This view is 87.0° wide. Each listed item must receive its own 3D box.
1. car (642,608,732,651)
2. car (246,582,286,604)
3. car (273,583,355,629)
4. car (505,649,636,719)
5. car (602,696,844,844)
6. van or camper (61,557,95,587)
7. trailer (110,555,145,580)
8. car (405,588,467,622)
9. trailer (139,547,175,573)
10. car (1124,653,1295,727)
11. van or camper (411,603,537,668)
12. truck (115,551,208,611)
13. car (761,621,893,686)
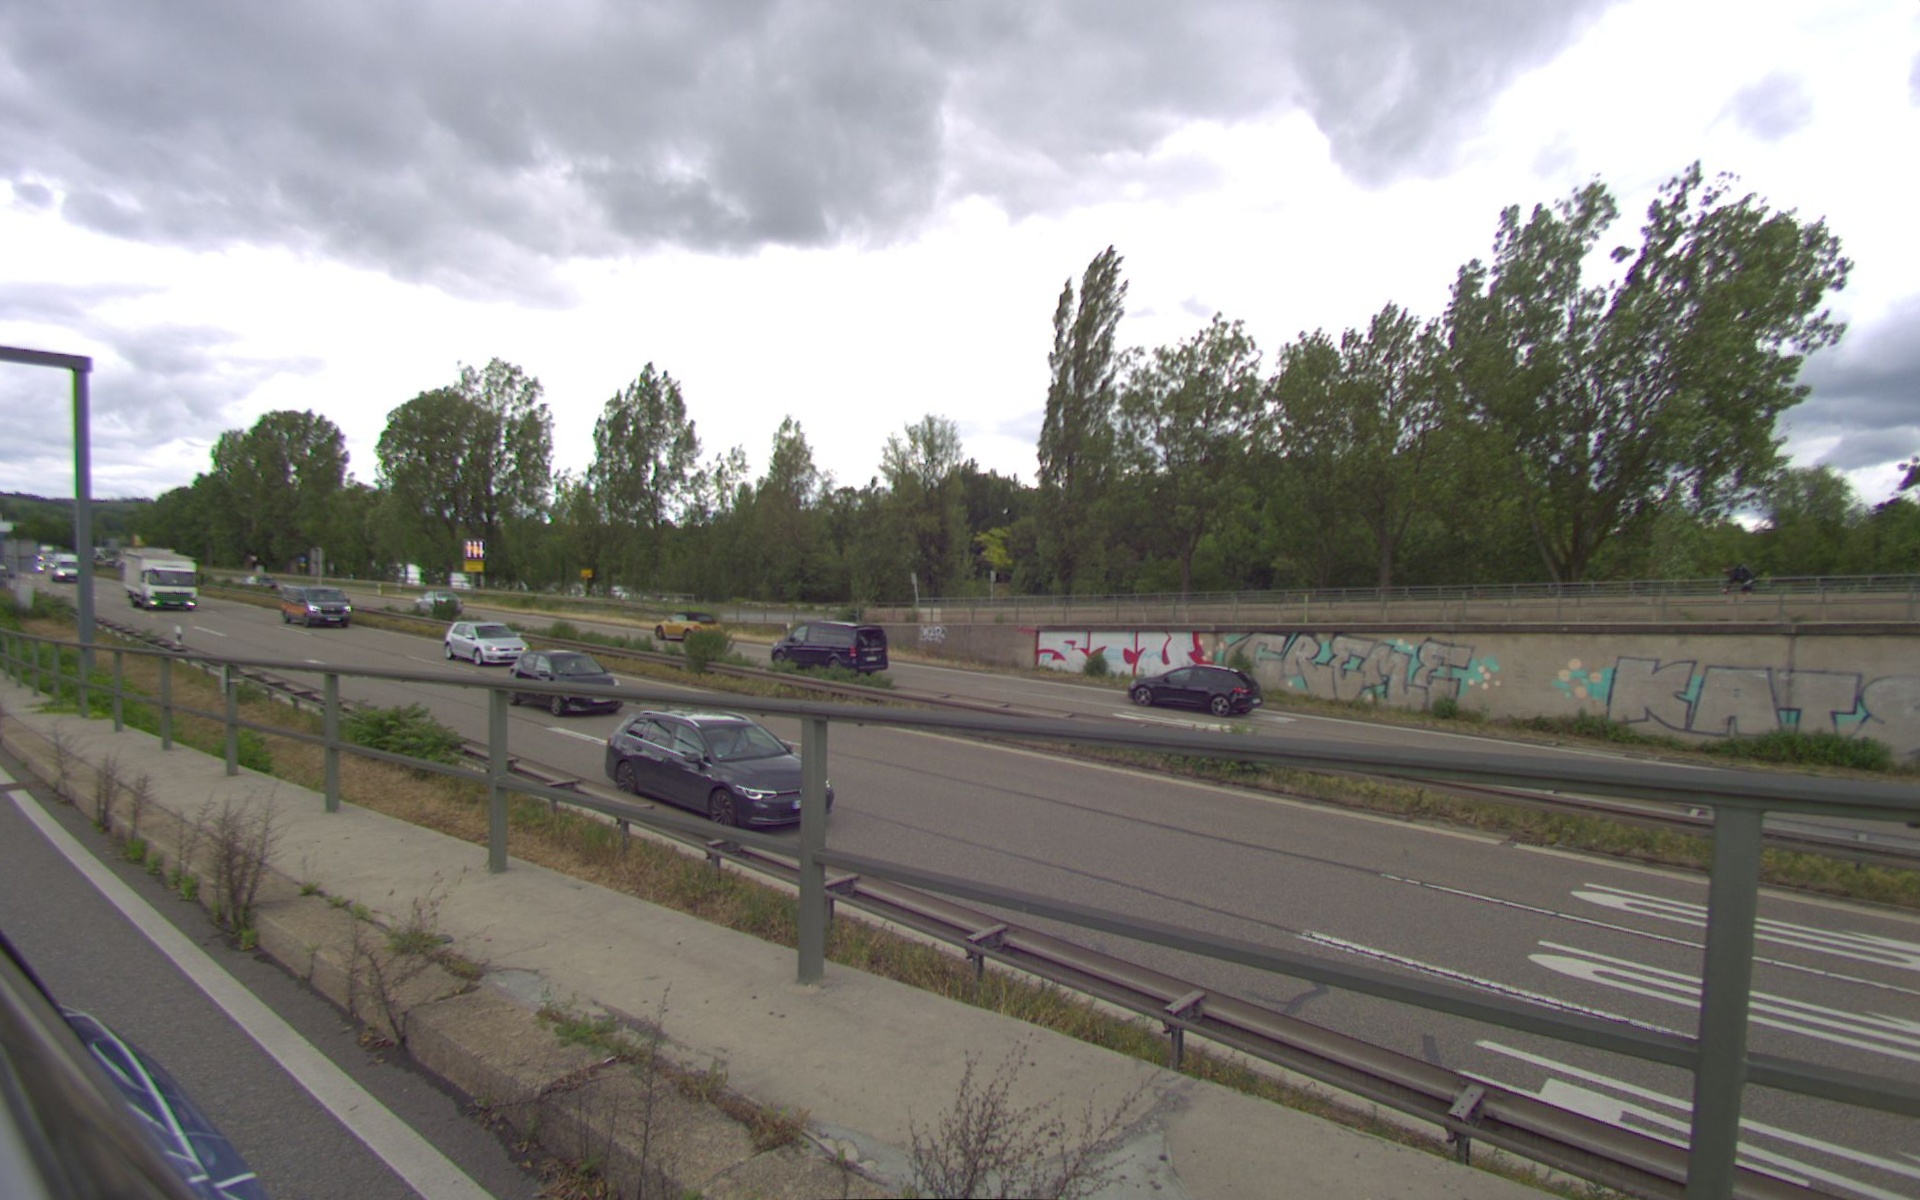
[{"bbox_3d":[-13.602,1.408,50.225,4.702,1.732,1.973,4,2,41],"label":"car"},{"bbox_3d":[-57.416,-0.568,83.756,4.002,1.741,1.971,2,1,44],"label":"car"},{"bbox_3d":[-32.723,0.252,51.210,5.337,2.028,2.072,4,2,41],"label":"car"},{"bbox_3d":[-10.124,2.111,26.181,3.648,1.337,1.705,4,2,42],"label":"car"},{"bbox_3d":[-3.846,2.507,15.918,1.911,1.512,4.311,2,0,-41],"label":"car"},{"bbox_3d":[-83.952,-2.676,96.255,2.178,2.623,6.335,-1,3,-43],"label":"van or camper"},{"bbox_3d":[-161.339,-6.391,196.050,14.784,4.708,3.425,2,2,43],"label":"trailer"},{"bbox_3d":[-33.718,0.283,65.085,4.704,1.704,1.972,7,4,41],"label":"car"},{"bbox_3d":[-129.861,-6.458,163.523,13.519,3.978,2.759,3,3,44],"label":"trailer"},{"bbox_3d":[7.619,2.686,31.151,4.699,1.705,1.974,3,1,39],"label":"car"},{"bbox_3d":[-18.103,1.237,37.483,6.346,1.882,1.862,3,3,41],"label":"van or camper"},{"bbox_3d":[-47.191,-1.157,59.710,7.567,3.182,3.000,3,2,41],"label":"truck"},{"bbox_3d":[-5.039,1.919,37.809,5.116,2.003,2.069,3,1,43],"label":"car"}]
